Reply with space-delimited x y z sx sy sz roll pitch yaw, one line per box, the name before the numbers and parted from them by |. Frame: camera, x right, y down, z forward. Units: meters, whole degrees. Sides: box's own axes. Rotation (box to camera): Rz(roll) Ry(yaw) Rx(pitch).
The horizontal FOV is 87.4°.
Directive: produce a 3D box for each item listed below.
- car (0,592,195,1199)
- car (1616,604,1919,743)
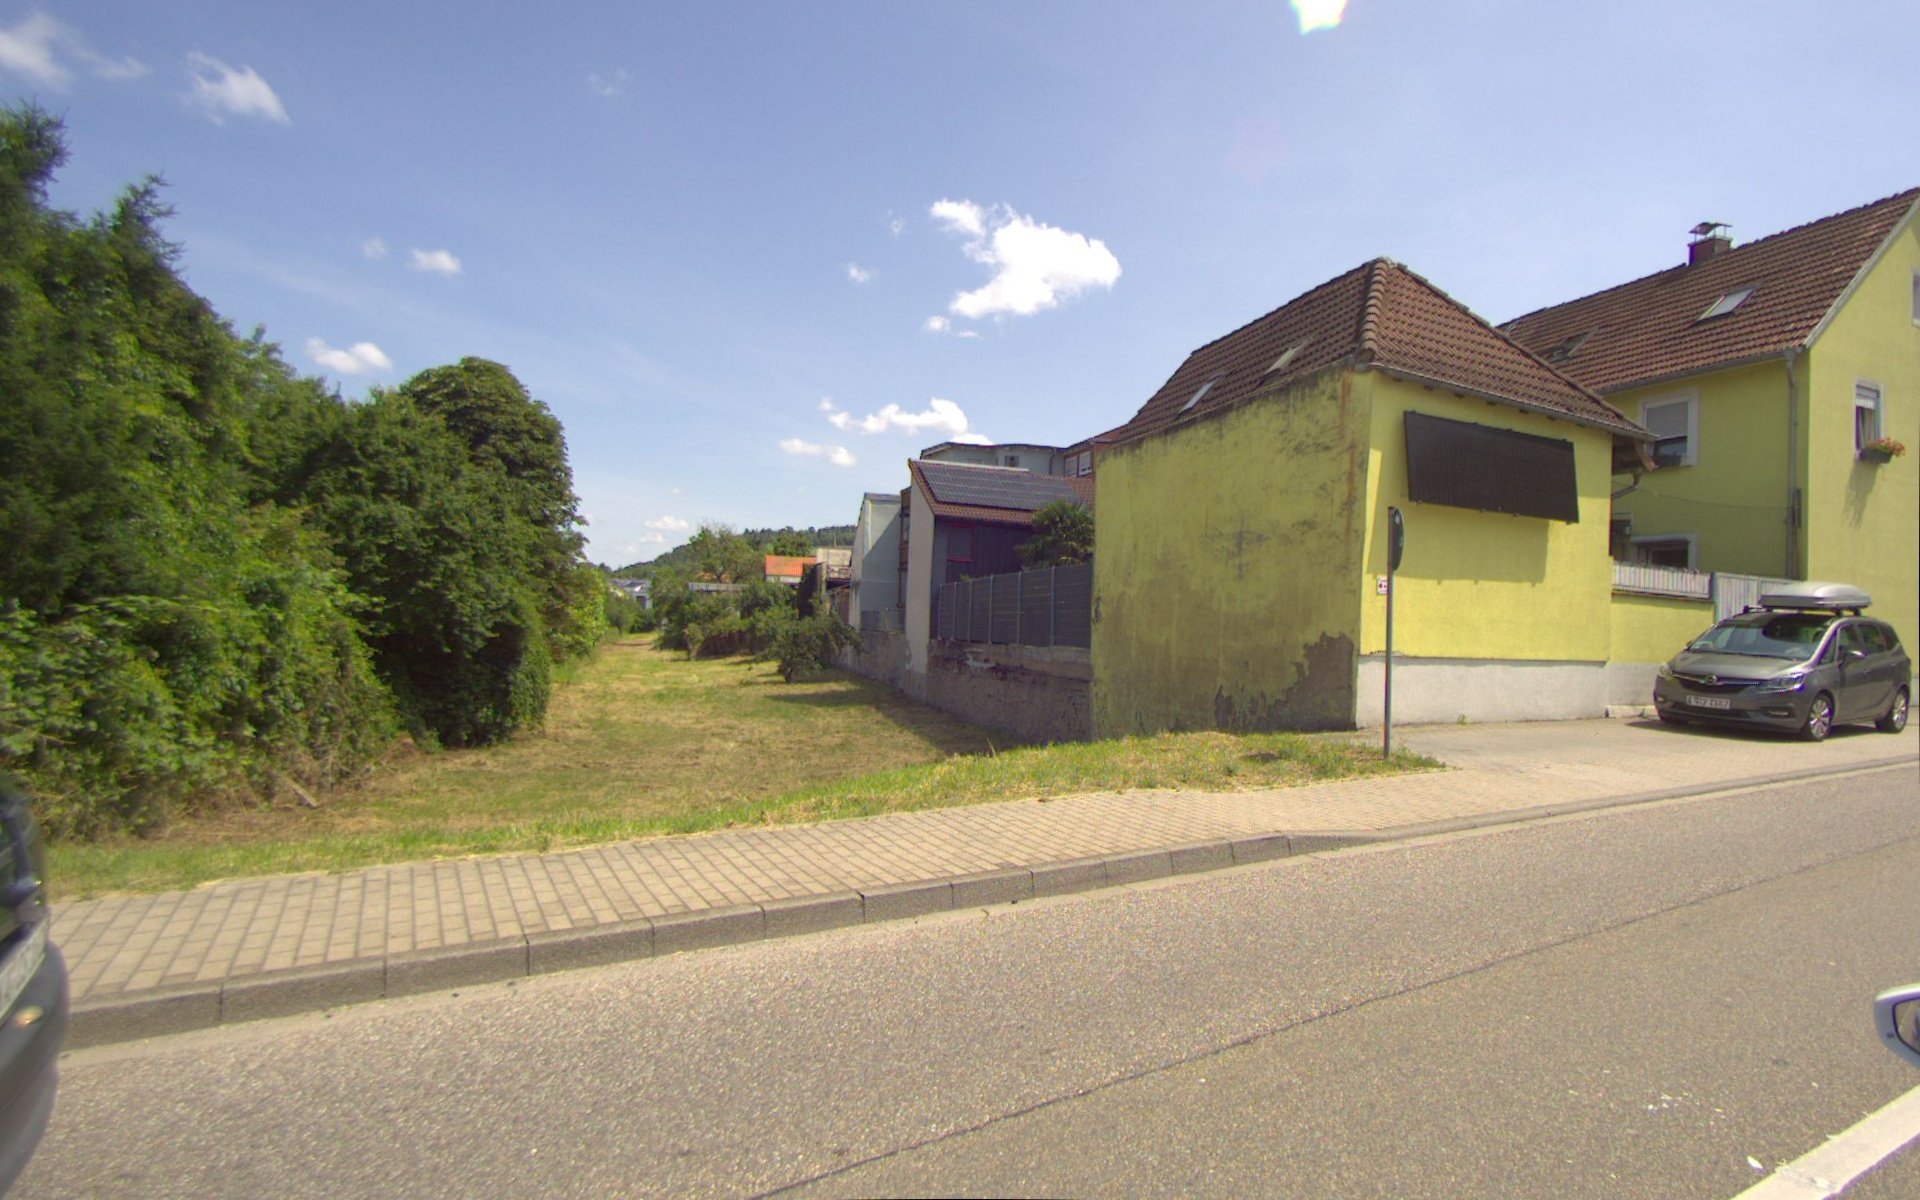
car | -3.459 0.675 1.184 3.827 1.452 1.772 1 -1 -30
car | 11.664 0.968 14.375 4.577 1.657 1.983 2 1 -31
